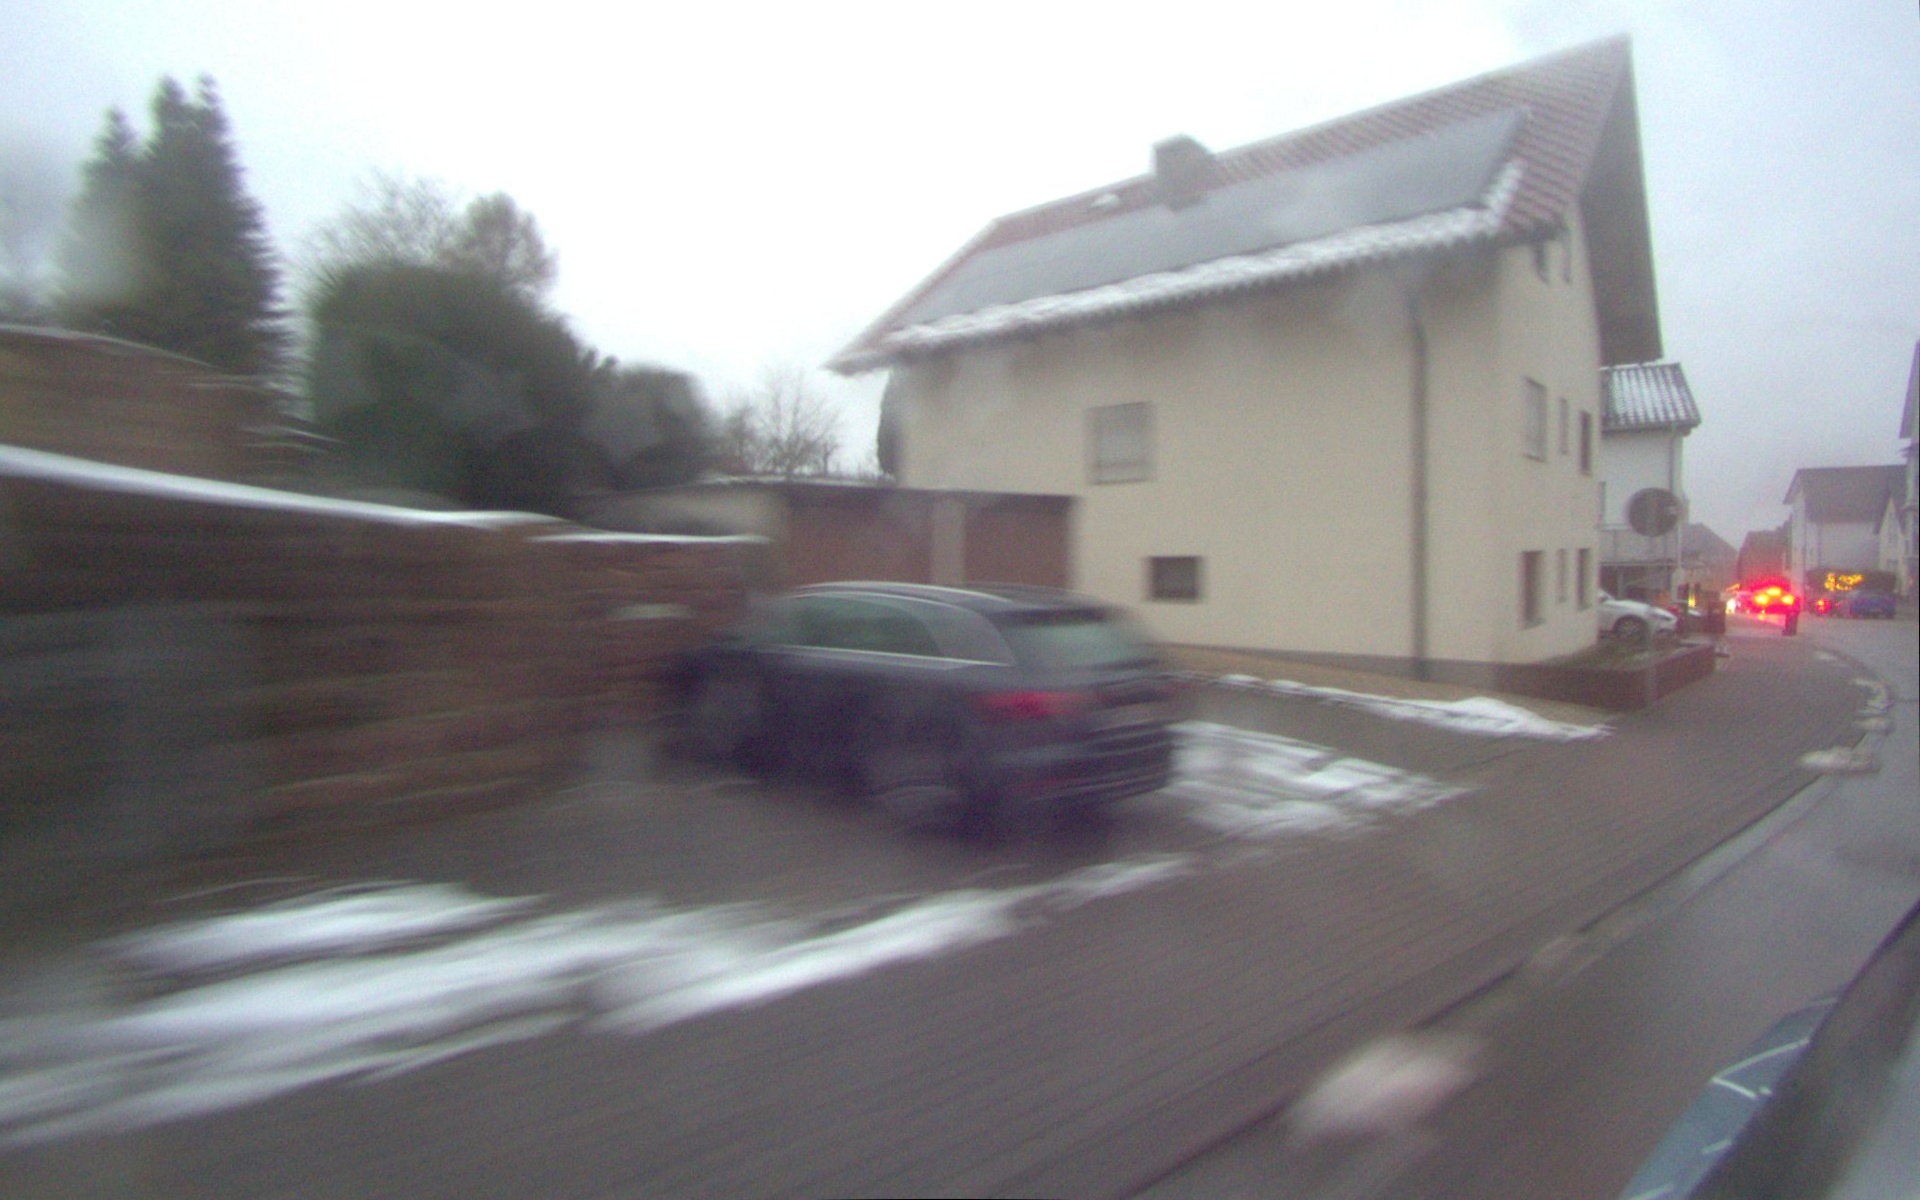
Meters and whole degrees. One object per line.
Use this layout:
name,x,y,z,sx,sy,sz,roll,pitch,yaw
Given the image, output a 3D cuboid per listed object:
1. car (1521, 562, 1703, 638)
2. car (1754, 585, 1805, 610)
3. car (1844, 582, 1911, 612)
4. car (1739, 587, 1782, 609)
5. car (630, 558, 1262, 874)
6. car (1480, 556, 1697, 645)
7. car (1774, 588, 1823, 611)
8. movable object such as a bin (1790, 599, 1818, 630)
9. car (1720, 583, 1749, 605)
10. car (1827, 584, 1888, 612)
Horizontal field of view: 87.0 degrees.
car,17.953,-0.049,28.056,3.975,1.473,1.671,10,6,32
car,51.586,-0.159,63.771,1.764,1.514,4.333,2,1,30
car,45.540,-0.133,50.301,1.659,1.427,3.871,1,0,30
car,62.374,-0.145,78.934,1.908,1.644,4.377,2,1,29
car,-0.407,0.488,7.203,1.967,1.461,4.510,0,3,-43
car,15.450,-0.065,24.995,4.276,1.473,1.756,11,8,37
car,56.541,-0.017,68.276,1.724,1.462,4.393,1,1,29
movable object such as a bin,27.874,0.478,33.442,0.613,0.957,0.587,5,5,37
car,69.670,-0.514,91.066,1.765,1.815,4.077,2,0,34
car,47.773,-0.114,53.948,1.656,1.435,3.652,-1,0,30
